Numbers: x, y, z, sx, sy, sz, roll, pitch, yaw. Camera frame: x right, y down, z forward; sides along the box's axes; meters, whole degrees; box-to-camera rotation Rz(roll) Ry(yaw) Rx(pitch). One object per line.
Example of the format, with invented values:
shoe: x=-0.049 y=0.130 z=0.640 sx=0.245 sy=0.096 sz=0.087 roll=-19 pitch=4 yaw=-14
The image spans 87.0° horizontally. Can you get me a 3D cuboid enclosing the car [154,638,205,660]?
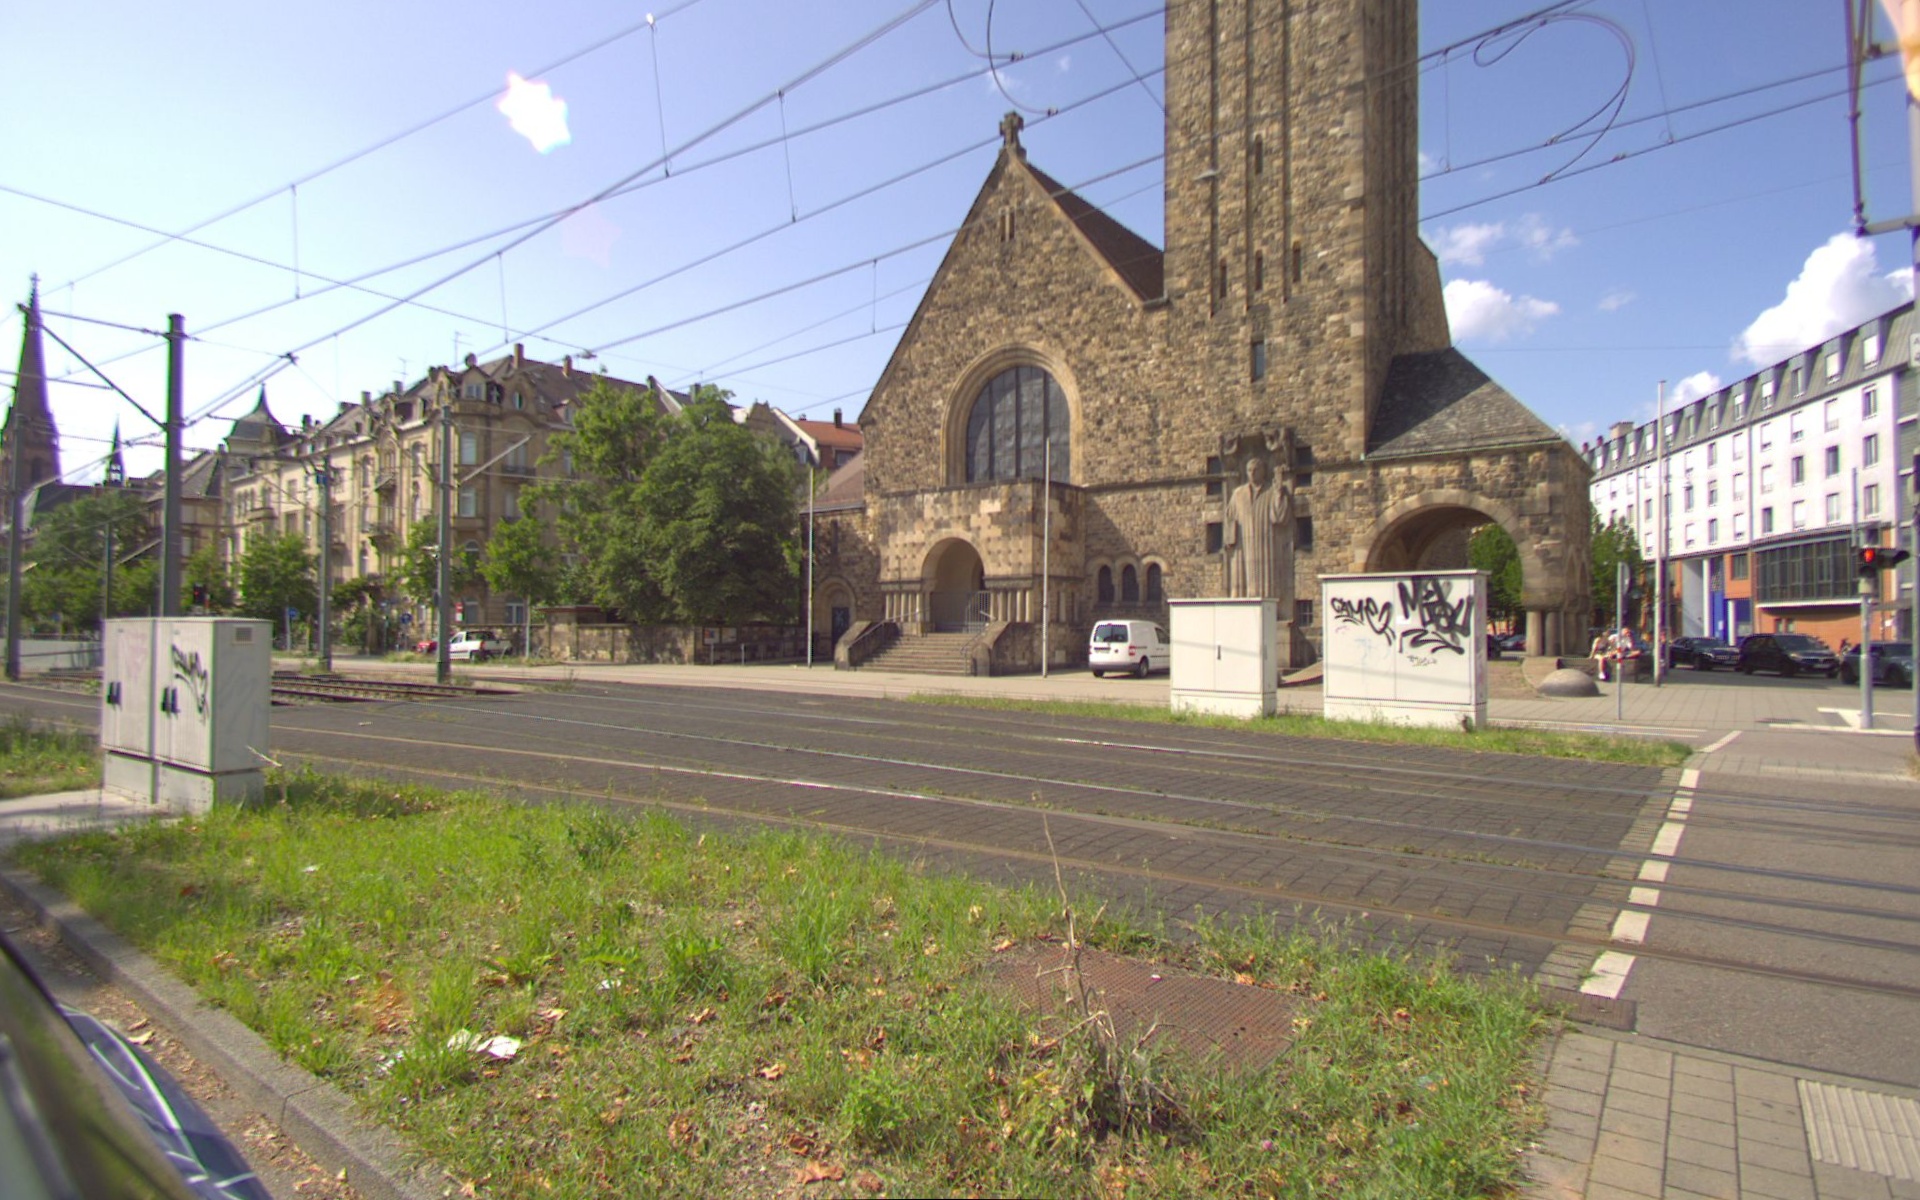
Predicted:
car: x=-59.063 y=3.708 z=76.567 sx=4.479 sy=1.538 sz=1.783 roll=-1 pitch=-1 yaw=35

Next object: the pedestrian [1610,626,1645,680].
pedestrian: x=18.257 y=1.436 z=27.696 sx=0.550 sy=1.417 sz=0.518 roll=-1 pitch=4 yaw=-8

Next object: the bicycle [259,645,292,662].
bicycle: x=-43.933 y=3.449 z=64.940 sx=0.470 sy=1.077 sz=1.692 roll=-2 pitch=-3 yaw=32

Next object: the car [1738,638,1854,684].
car: x=31.818 y=2.287 z=38.662 sx=1.686 sy=1.609 sz=4.056 roll=0 pitch=-2 yaw=12

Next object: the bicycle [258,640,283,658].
bicycle: x=-50.191 y=3.562 z=73.686 sx=2.939 sy=1.258 sz=0.651 roll=-2 pitch=0 yaw=39

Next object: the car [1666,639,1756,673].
car: x=32.928 y=2.432 z=44.475 sx=1.686 sy=1.401 sz=3.846 roll=0 pitch=-2 yaw=12

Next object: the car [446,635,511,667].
car: x=-22.828 y=2.417 z=47.922 sx=1.648 sy=1.427 sz=3.848 roll=4 pitch=-4 yaw=-43

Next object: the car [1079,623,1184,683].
car: x=5.677 y=1.690 z=33.170 sx=1.860 sy=1.838 sz=3.966 roll=-1 pitch=-2 yaw=36

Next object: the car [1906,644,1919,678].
car: x=42.532 y=2.562 z=43.328 sx=3.511 sy=1.407 sz=1.611 roll=-1 pitch=-3 yaw=-23

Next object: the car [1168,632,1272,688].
car: x=7.924 y=1.772 z=30.635 sx=1.795 sy=1.559 sz=3.732 roll=-1 pitch=-2 yaw=37

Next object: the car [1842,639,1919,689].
car: x=29.889 y=1.980 z=31.784 sx=1.657 sy=1.462 sz=3.721 roll=0 pitch=-2 yaw=12

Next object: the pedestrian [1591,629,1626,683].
pedestrian: x=17.703 y=1.526 z=27.624 sx=0.550 sy=1.417 sz=0.518 roll=-1 pitch=4 yaw=-8

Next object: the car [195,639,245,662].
car: x=-51.342 y=3.453 z=70.203 sx=4.703 sy=1.514 sz=1.669 roll=-1 pitch=-2 yaw=39
